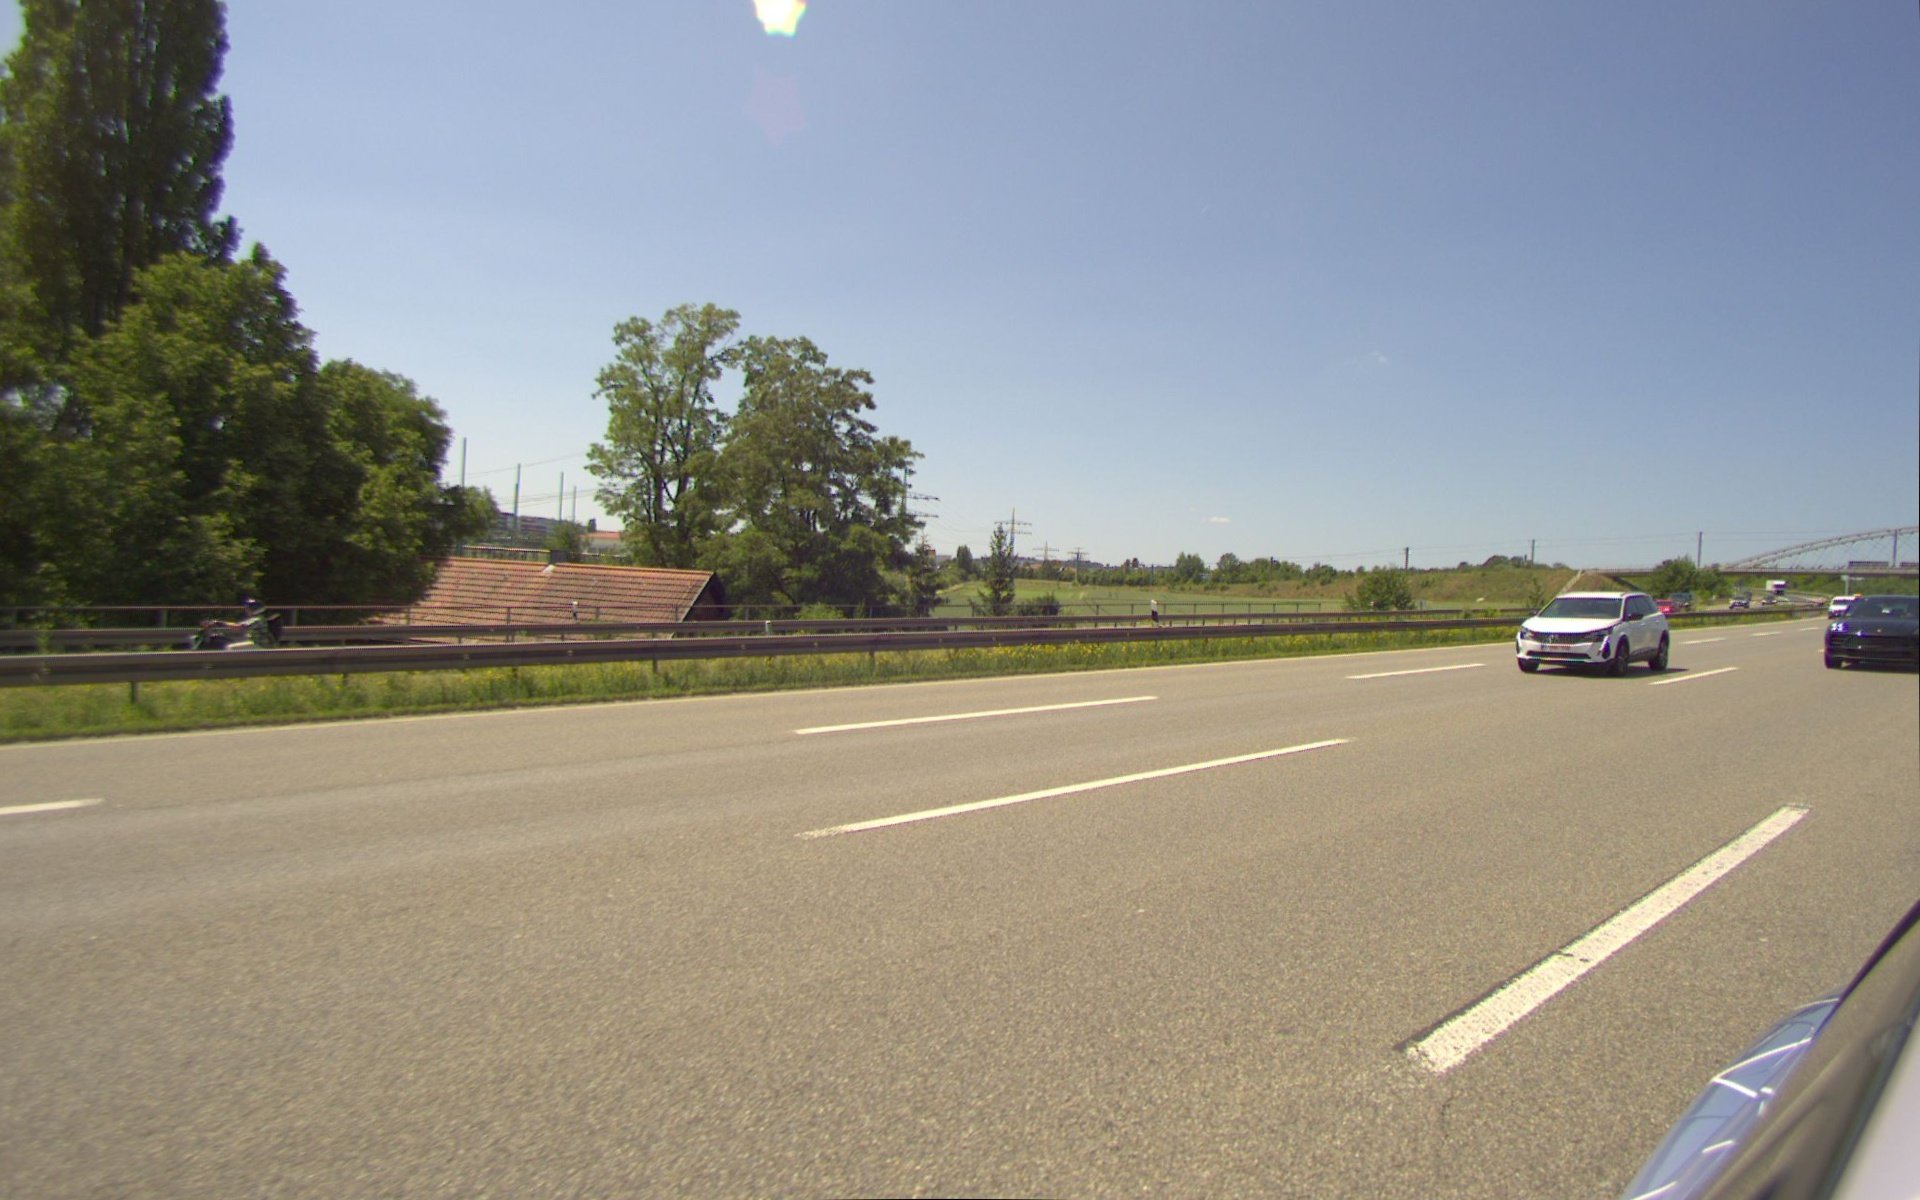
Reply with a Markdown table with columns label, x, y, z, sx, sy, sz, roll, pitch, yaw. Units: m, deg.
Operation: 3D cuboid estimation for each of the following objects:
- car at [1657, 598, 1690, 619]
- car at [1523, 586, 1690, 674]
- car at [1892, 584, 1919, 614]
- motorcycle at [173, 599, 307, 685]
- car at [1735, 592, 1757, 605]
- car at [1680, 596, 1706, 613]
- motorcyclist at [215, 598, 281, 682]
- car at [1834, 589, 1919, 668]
| label | x | y | z | sx | sy | sz | roll | pitch | yaw |
| --- | --- | --- | --- | --- | --- | --- | --- | --- | --- |
| car | 57.307 | 0.664 | 81.238 | 1.699 | 1.594 | 4.065 | 1 | 1 | 42 |
| car | 13.415 | 0.528 | 20.892 | 4.540 | 1.611 | 1.746 | -1 | 1 | -41 |
| car | 63.107 | -0.064 | 67.044 | 4.224 | 1.943 | 1.805 | -1 | 1 | -44 |
| motorcycle | -12.402 | 0.682 | 17.460 | 1.837 | 1.383 | 0.761 | 0 | 1 | -41 |
| car | 102.010 | -0.209 | 131.320 | 1.700 | 1.594 | 4.061 | 1 | 1 | 45 |
| car | 72.981 | 0.412 | 100.756 | 1.699 | 1.594 | 4.065 | 1 | 1 | 42 |
| motorcyclist | -12.327 | 0.669 | 17.515 | 0.863 | 1.383 | 0.669 | 0 | 1 | -42 |
| car | 20.876 | 0.568 | 22.330 | 4.061 | 1.615 | 1.929 | -1 | 1 | -42 |
